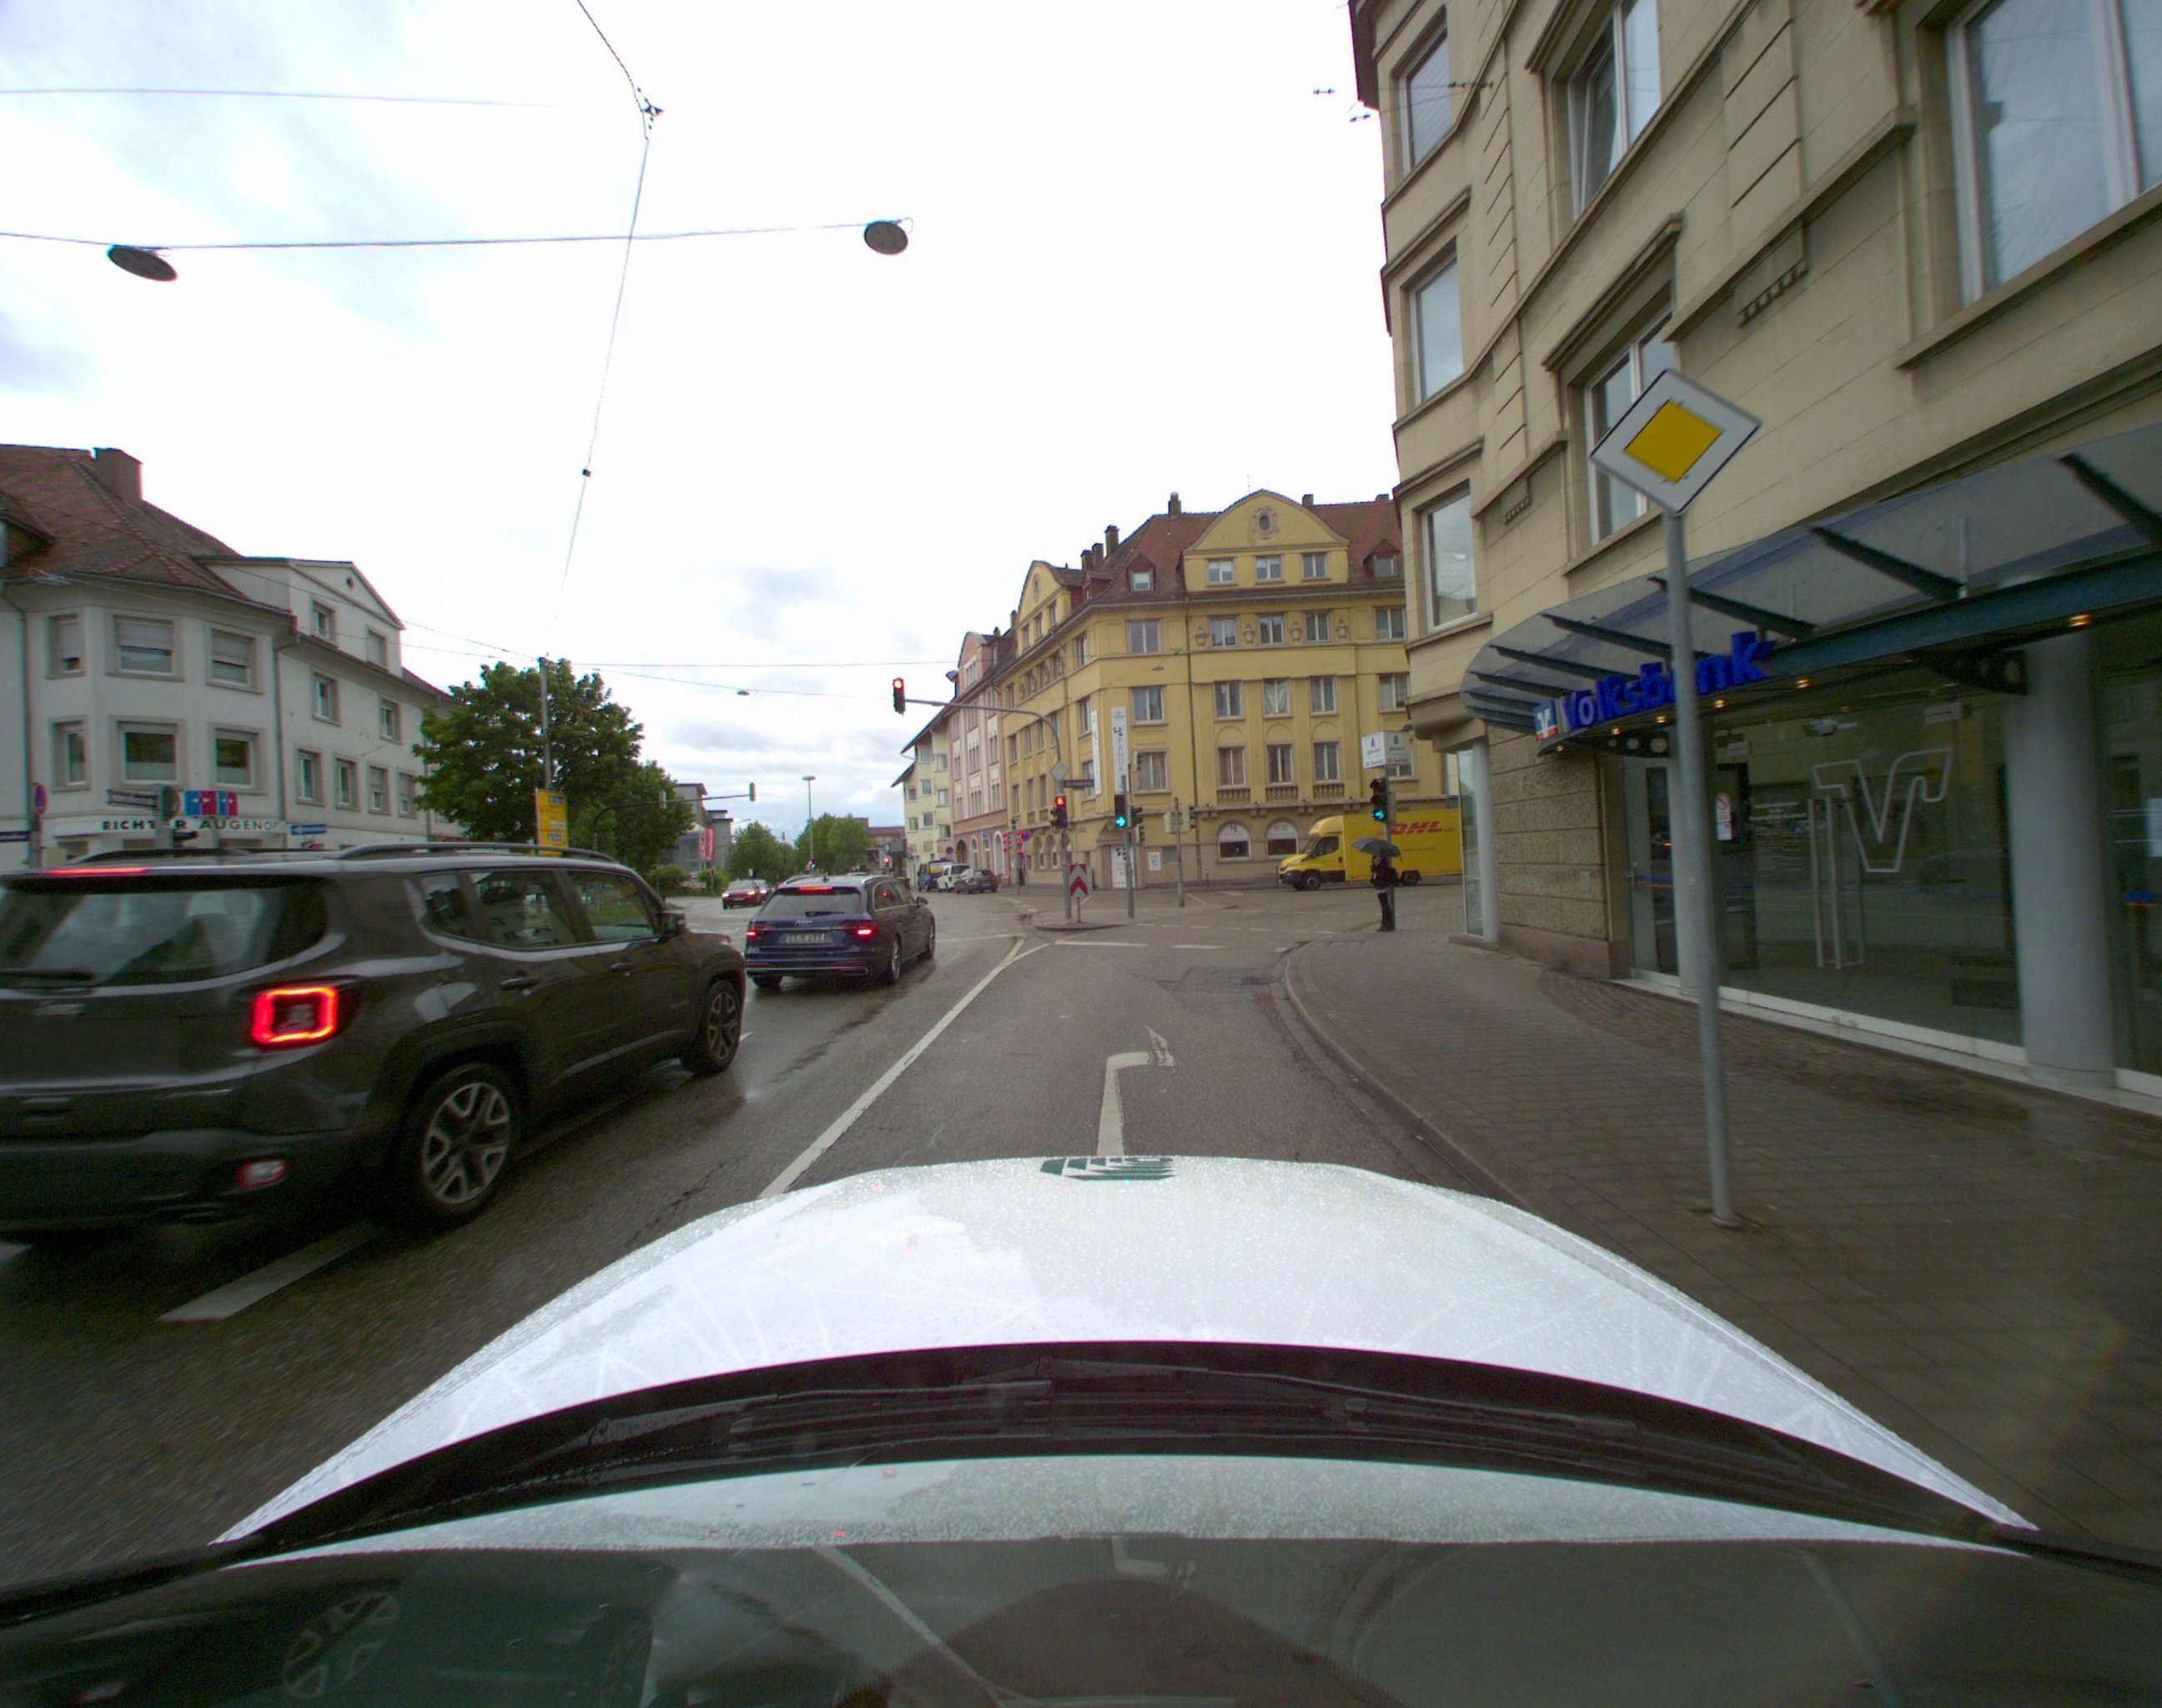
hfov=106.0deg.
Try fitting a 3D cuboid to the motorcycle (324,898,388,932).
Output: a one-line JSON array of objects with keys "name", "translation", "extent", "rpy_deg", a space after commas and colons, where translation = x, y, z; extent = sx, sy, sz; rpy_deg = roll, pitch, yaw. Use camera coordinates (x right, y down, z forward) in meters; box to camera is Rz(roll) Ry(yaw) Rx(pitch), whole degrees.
[{"name": "motorcycle", "translation": [-28.694, 2.397, 32.282], "extent": [0.720, 1.178, 2.577], "rpy_deg": [-2, 0, -13]}]

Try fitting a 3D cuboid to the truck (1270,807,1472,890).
[{"name": "truck", "translation": [11.181, -0.172, 31.782], "extent": [7.065, 2.851, 2.083], "rpy_deg": [-2, -1, 1]}]

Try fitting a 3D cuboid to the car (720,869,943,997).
[{"name": "car", "translation": [-3.255, 0.950, 11.680], "extent": [1.798, 1.406, 4.681], "rpy_deg": [-2, -1, -1]}]

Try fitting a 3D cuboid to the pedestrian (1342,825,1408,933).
[{"name": "pedestrian", "translation": [5.446, 0.461, 15.071], "extent": [1.048, 1.904, 1.030], "rpy_deg": [-3, -1, 21]}]

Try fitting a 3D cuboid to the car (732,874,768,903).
[{"name": "car", "translation": [-20.015, 2.045, 49.340], "extent": [1.769, 1.634, 3.601], "rpy_deg": [-2, -1, -19]}]

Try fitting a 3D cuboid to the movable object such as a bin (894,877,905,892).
[{"name": "movable object such as a bin", "translation": [-15.551, 2.592, 69.781], "extent": [0.751, 1.231, 0.976], "rpy_deg": [3, -2, -22]}]

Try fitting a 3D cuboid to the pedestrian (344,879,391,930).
[{"name": "pedestrian", "translation": [-25.233, 1.778, 28.832], "extent": [0.966, 1.708, 0.927], "rpy_deg": [-2, 0, -24]}]

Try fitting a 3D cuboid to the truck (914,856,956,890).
[{"name": "truck", "translation": [-10.719, 1.366, 59.523], "extent": [2.035, 2.389, 4.203], "rpy_deg": [-1, 0, -23]}]

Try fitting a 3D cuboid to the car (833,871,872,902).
[{"name": "car", "translation": [-14.617, 2.019, 51.933], "extent": [2.001, 1.816, 3.971], "rpy_deg": [-2, -1, -21]}]

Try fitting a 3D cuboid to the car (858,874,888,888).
[{"name": "car", "translation": [-31.640, 4.115, 123.912], "extent": [4.015, 2.014, 1.979], "rpy_deg": [1, -1, -34]}]

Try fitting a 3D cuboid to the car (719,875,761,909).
[{"name": "car", "translation": [-18.327, 2.017, 43.856], "extent": [1.850, 1.684, 3.973], "rpy_deg": [0, -1, -20]}]

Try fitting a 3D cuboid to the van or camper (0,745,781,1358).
[{"name": "van or camper", "translation": [-3.545, 0.731, 5.009], "extent": [1.849, 2.146, 4.140], "rpy_deg": [-2, -1, -1]}]

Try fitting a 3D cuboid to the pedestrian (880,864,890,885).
[{"name": "pedestrian", "translation": [-18.785, 1.959, 77.931], "extent": [0.726, 1.937, 0.786], "rpy_deg": [-2, -1, -25]}]

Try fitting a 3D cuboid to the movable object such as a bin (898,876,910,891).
[{"name": "movable object such as a bin", "translation": [-14.875, 2.483, 68.509], "extent": [0.751, 1.231, 0.976], "rpy_deg": [3, -2, -22]}]

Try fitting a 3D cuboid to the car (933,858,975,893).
[{"name": "car", "translation": [-8.502, 1.419, 54.193], "extent": [1.770, 2.180, 3.969], "rpy_deg": [-1, 0, -23]}]

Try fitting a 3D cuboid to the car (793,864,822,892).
[{"name": "car", "translation": [-21.489, 1.865, 63.962], "extent": [2.000, 2.014, 3.974], "rpy_deg": [-2, -1, -19]}]

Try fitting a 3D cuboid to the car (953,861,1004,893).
[{"name": "car", "translation": [-6.047, 1.300, 47.747], "extent": [1.886, 1.636, 3.970], "rpy_deg": [-4, 1, -22]}]
